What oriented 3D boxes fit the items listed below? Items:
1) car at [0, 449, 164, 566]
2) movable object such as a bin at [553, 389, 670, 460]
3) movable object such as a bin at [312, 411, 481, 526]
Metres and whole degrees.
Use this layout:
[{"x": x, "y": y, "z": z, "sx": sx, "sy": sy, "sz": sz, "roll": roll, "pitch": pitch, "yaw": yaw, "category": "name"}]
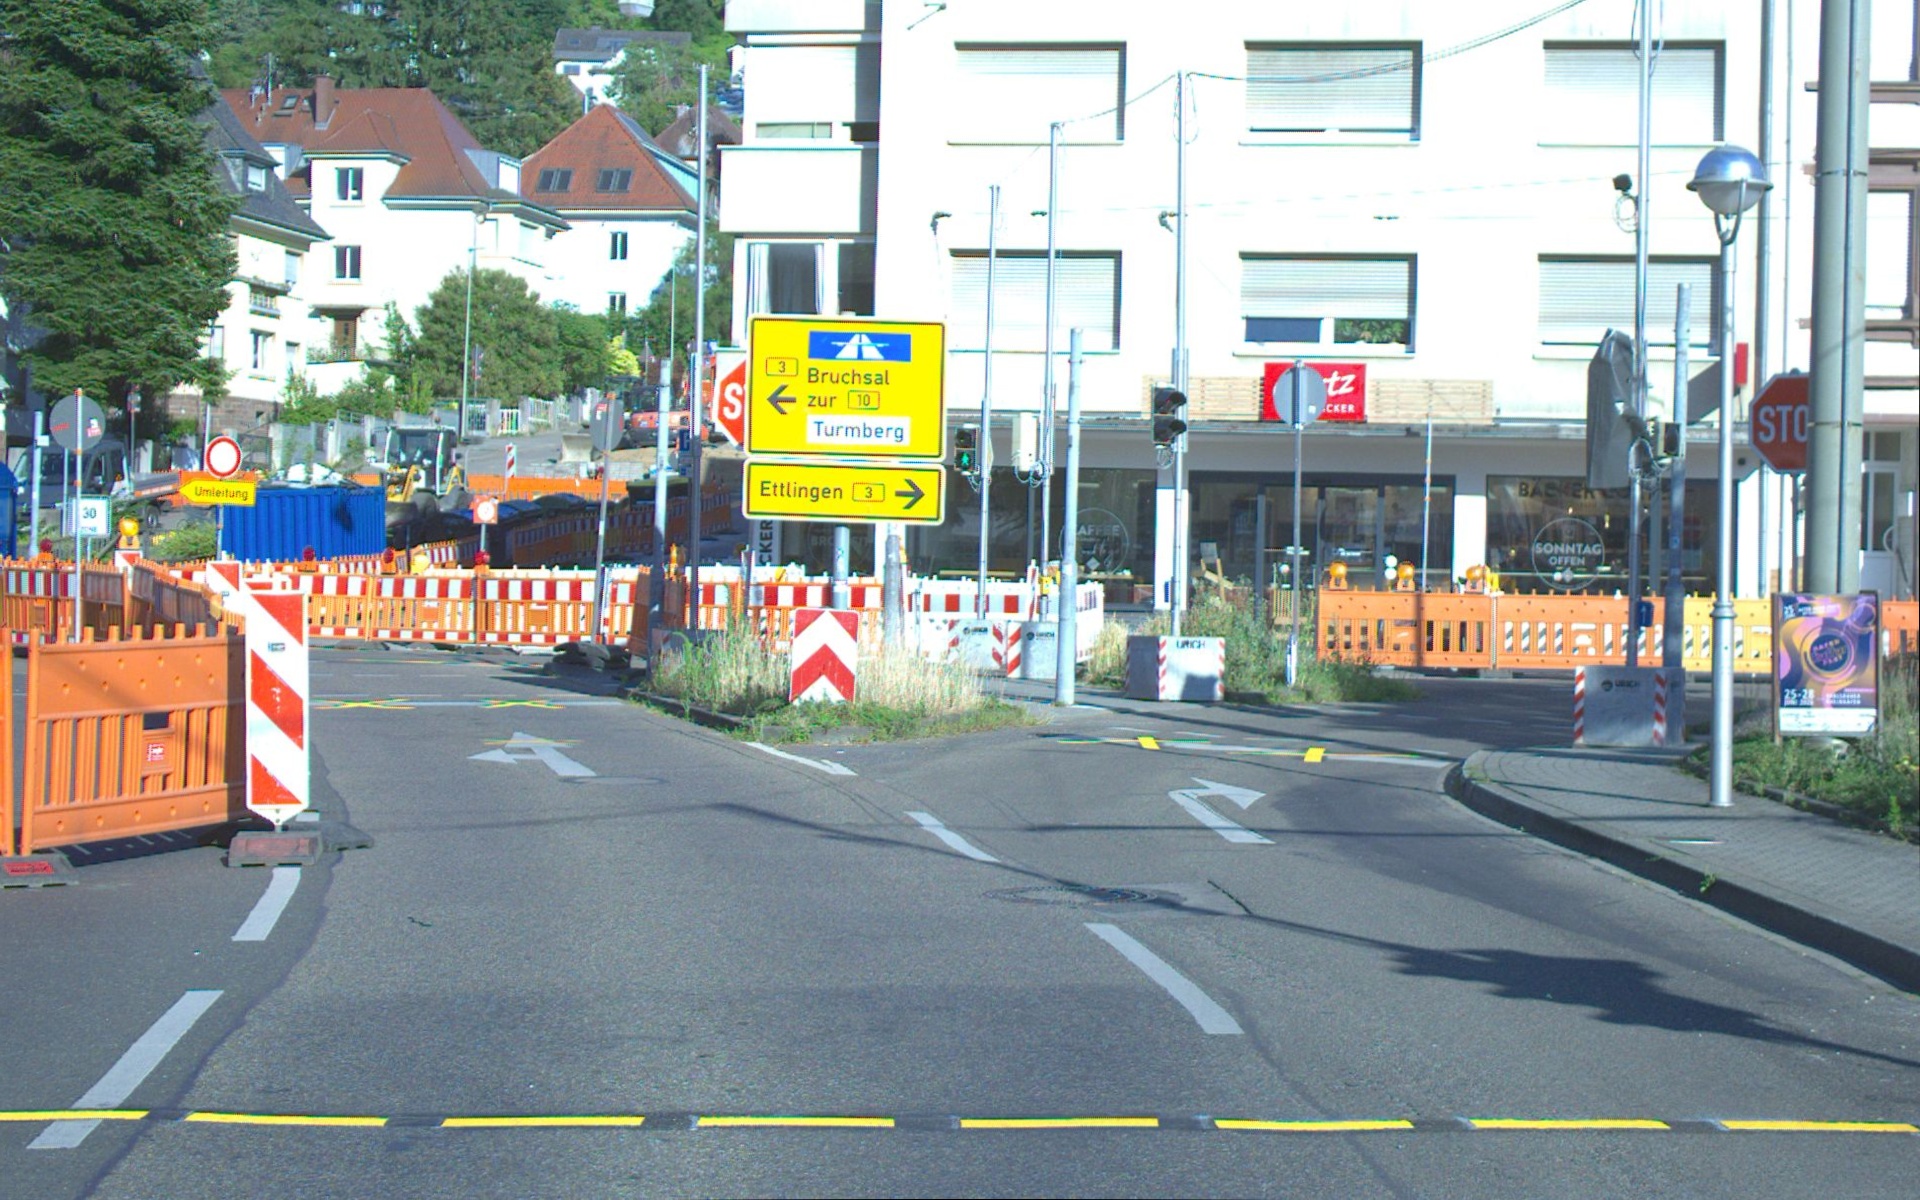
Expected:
[{"x": -18.081, "y": -1.749, "z": 66.162, "sx": 2.585, "sy": 2.113, "sz": 6.145, "roll": 1, "pitch": 1, "yaw": 18, "category": "car"}, {"x": -11.592, "y": -5.828, "z": 114.846, "sx": 2.566, "sy": 2.114, "sz": 5.782, "roll": 1, "pitch": 1, "yaw": 8, "category": "movable object such as a bin"}, {"x": -12.890, "y": -2.982, "z": 78.952, "sx": 1.950, "sy": 2.486, "sz": 4.547, "roll": 1, "pitch": 1, "yaw": 18, "category": "movable object such as a bin"}]
